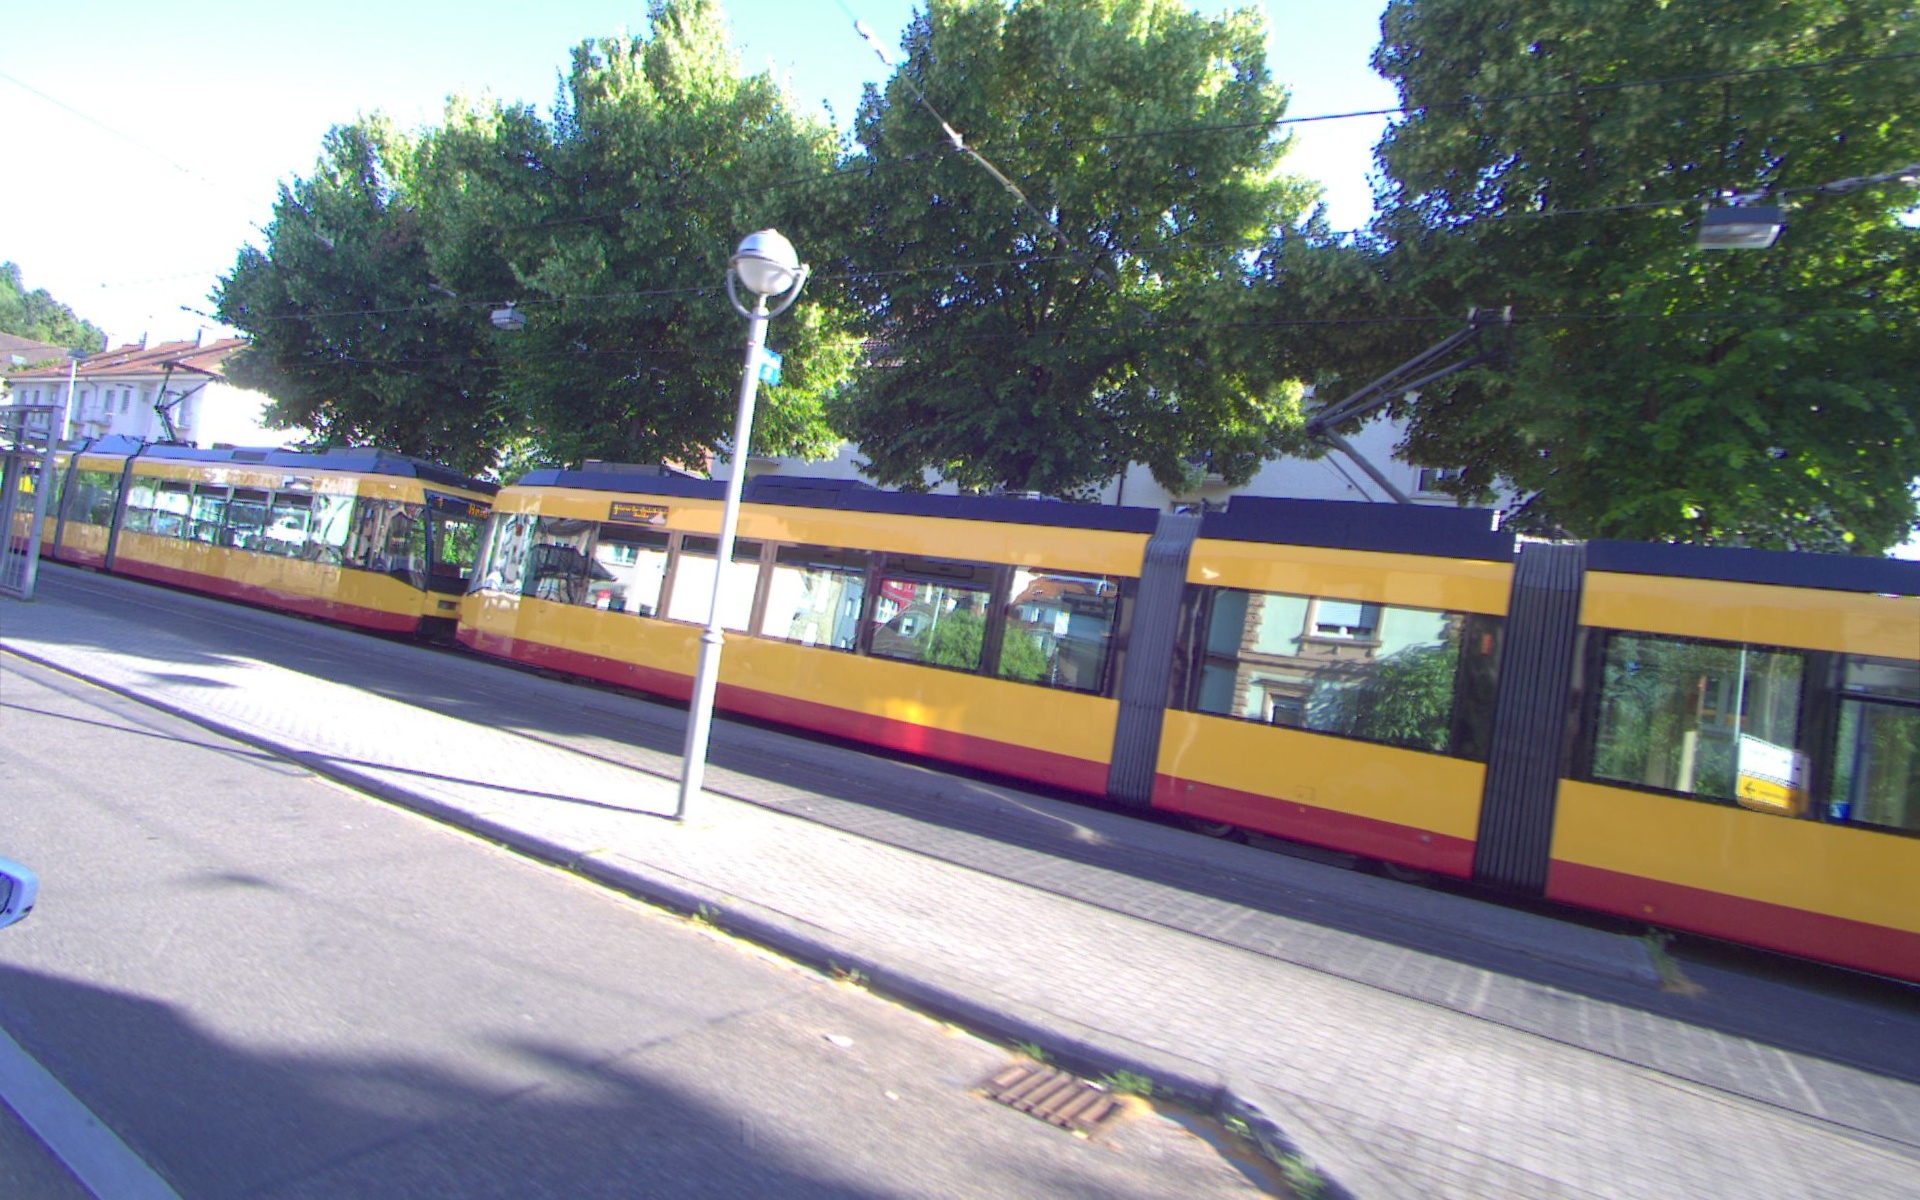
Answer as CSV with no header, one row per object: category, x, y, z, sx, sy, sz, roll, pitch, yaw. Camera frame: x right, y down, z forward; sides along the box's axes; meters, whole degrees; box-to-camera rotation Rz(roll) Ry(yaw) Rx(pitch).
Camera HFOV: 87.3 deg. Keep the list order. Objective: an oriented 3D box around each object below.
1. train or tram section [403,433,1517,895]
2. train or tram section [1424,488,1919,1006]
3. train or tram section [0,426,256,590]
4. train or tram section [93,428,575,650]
train or tram section,-1.507,0.014,13.804,15.670,3.462,2.963,8,-1,31
train or tram section,10.622,1.669,6.653,13.234,3.462,2.964,8,-1,30
train or tram section,-26.057,-2.909,29.199,15.705,3.576,2.962,6,-1,32
train or tram section,-14.038,-1.569,21.714,13.241,3.576,2.962,6,-1,32
